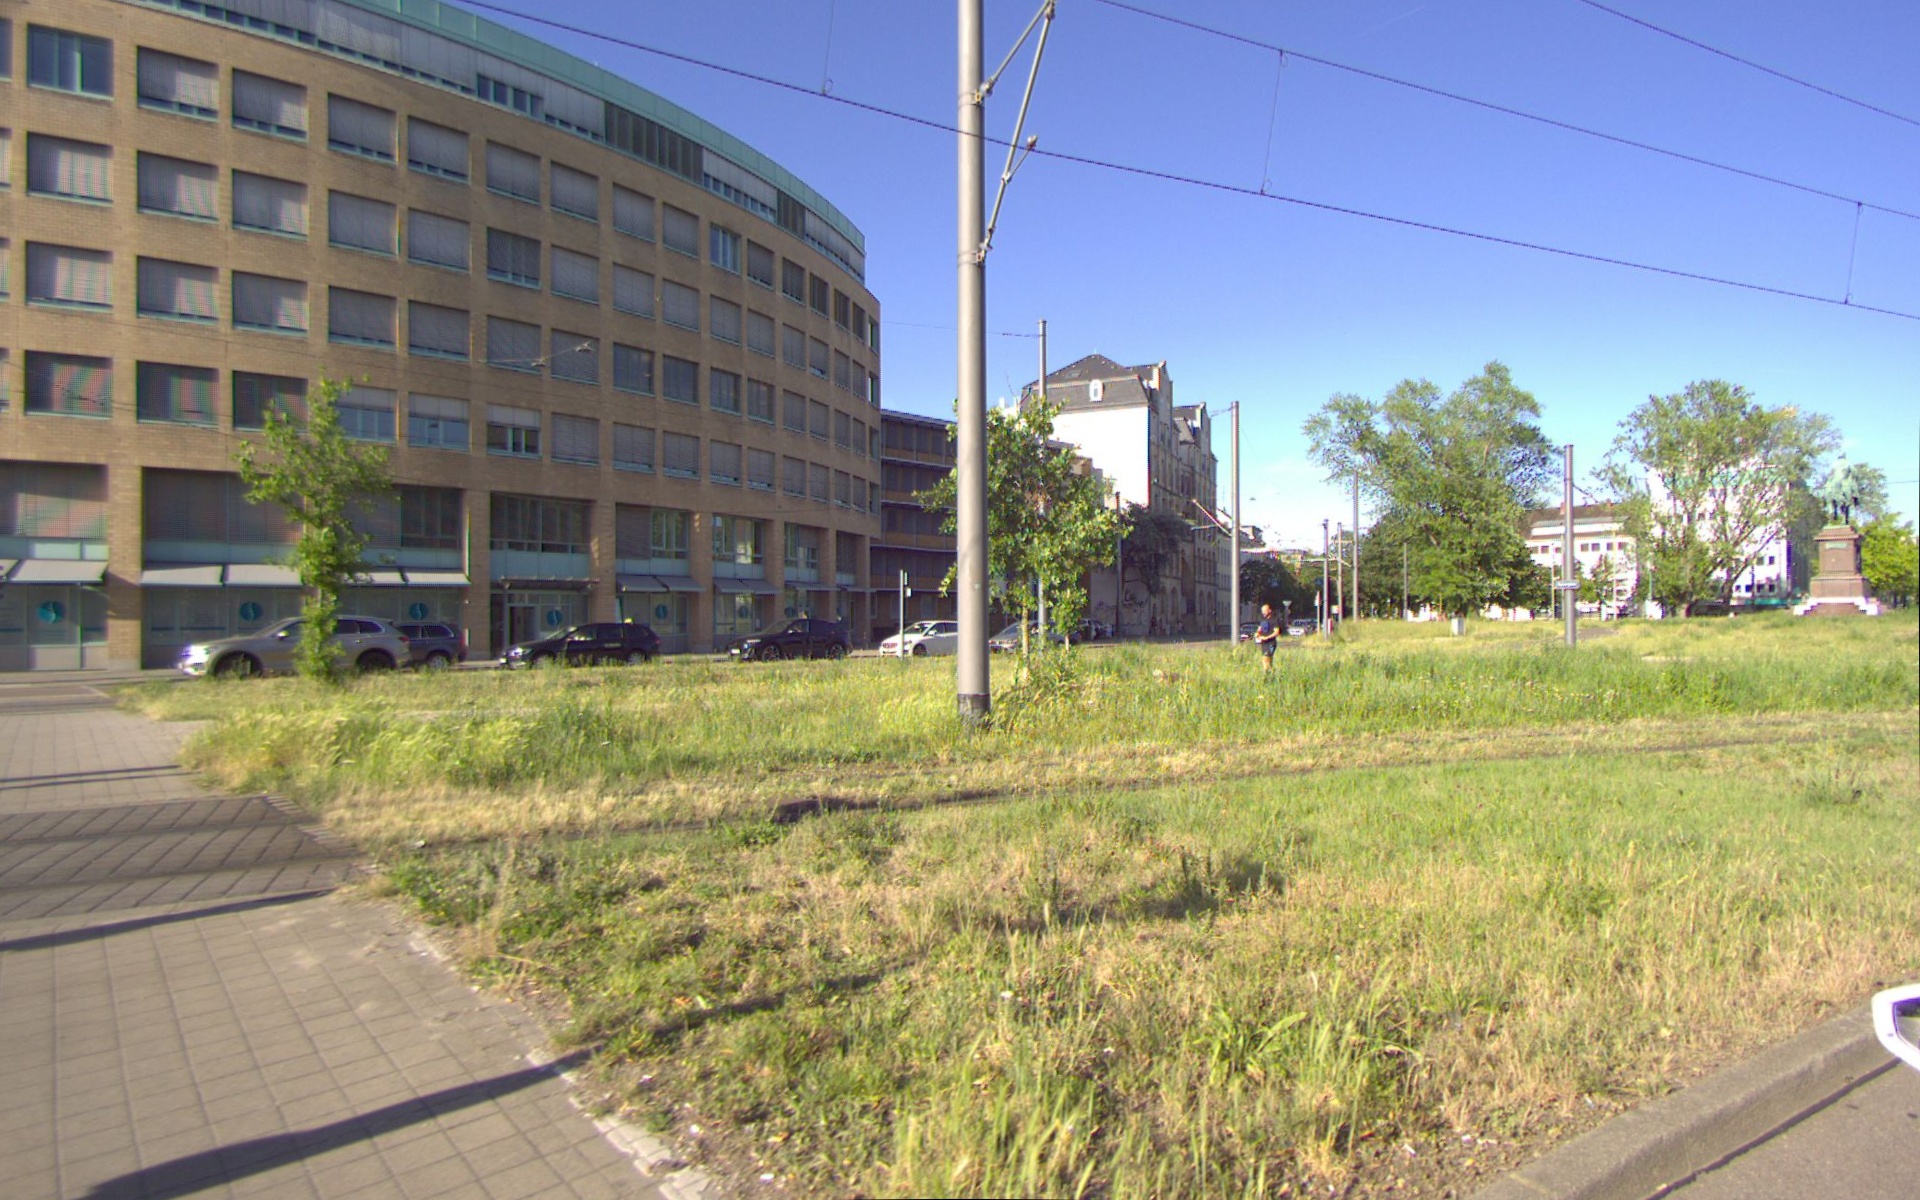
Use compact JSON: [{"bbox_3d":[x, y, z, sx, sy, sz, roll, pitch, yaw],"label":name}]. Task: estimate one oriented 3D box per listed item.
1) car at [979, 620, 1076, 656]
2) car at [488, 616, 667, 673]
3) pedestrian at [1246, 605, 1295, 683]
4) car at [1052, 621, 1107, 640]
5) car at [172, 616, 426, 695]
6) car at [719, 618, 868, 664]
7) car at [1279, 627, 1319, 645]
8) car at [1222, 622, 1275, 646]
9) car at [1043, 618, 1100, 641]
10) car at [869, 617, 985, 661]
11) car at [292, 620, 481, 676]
[{"bbox_3d":[3.060,1.654,44.955,1.971,1.446,4.487,1,0,42],"label":"car"},{"bbox_3d":[-11.402,1.279,30.175,1.973,1.537,4.633,1,0,45],"label":"car"},{"bbox_3d":[6.815,0.953,22.079,0.733,1.693,0.733,0,0,-18],"label":"pedestrian"},{"bbox_3d":[9.300,2.357,77.913,3.920,1.359,2.001,1,0,17],"label":"car"},{"bbox_3d":[-16.503,1.300,25.284,2.078,1.757,5.054,-1,-1,44],"label":"car"},{"bbox_3d":[-5.889,1.422,35.898,4.981,1.467,1.976,1,0,-41],"label":"car"},{"bbox_3d":[29.312,3.068,86.750,1.968,1.372,4.750,1,1,36],"label":"car"},{"bbox_3d":[20.942,2.486,72.819,1.971,1.532,4.261,0,-3,42],"label":"car"},{"bbox_3d":[8.411,2.211,75.474,3.920,1.602,2.001,1,0,17],"label":"car"},{"bbox_3d":[-1.270,1.542,40.714,1.973,1.617,4.627,1,0,44],"label":"car"},{"bbox_3d":[-19.190,1.551,33.784,5.176,1.690,2.097,1,0,-44],"label":"car"}]
